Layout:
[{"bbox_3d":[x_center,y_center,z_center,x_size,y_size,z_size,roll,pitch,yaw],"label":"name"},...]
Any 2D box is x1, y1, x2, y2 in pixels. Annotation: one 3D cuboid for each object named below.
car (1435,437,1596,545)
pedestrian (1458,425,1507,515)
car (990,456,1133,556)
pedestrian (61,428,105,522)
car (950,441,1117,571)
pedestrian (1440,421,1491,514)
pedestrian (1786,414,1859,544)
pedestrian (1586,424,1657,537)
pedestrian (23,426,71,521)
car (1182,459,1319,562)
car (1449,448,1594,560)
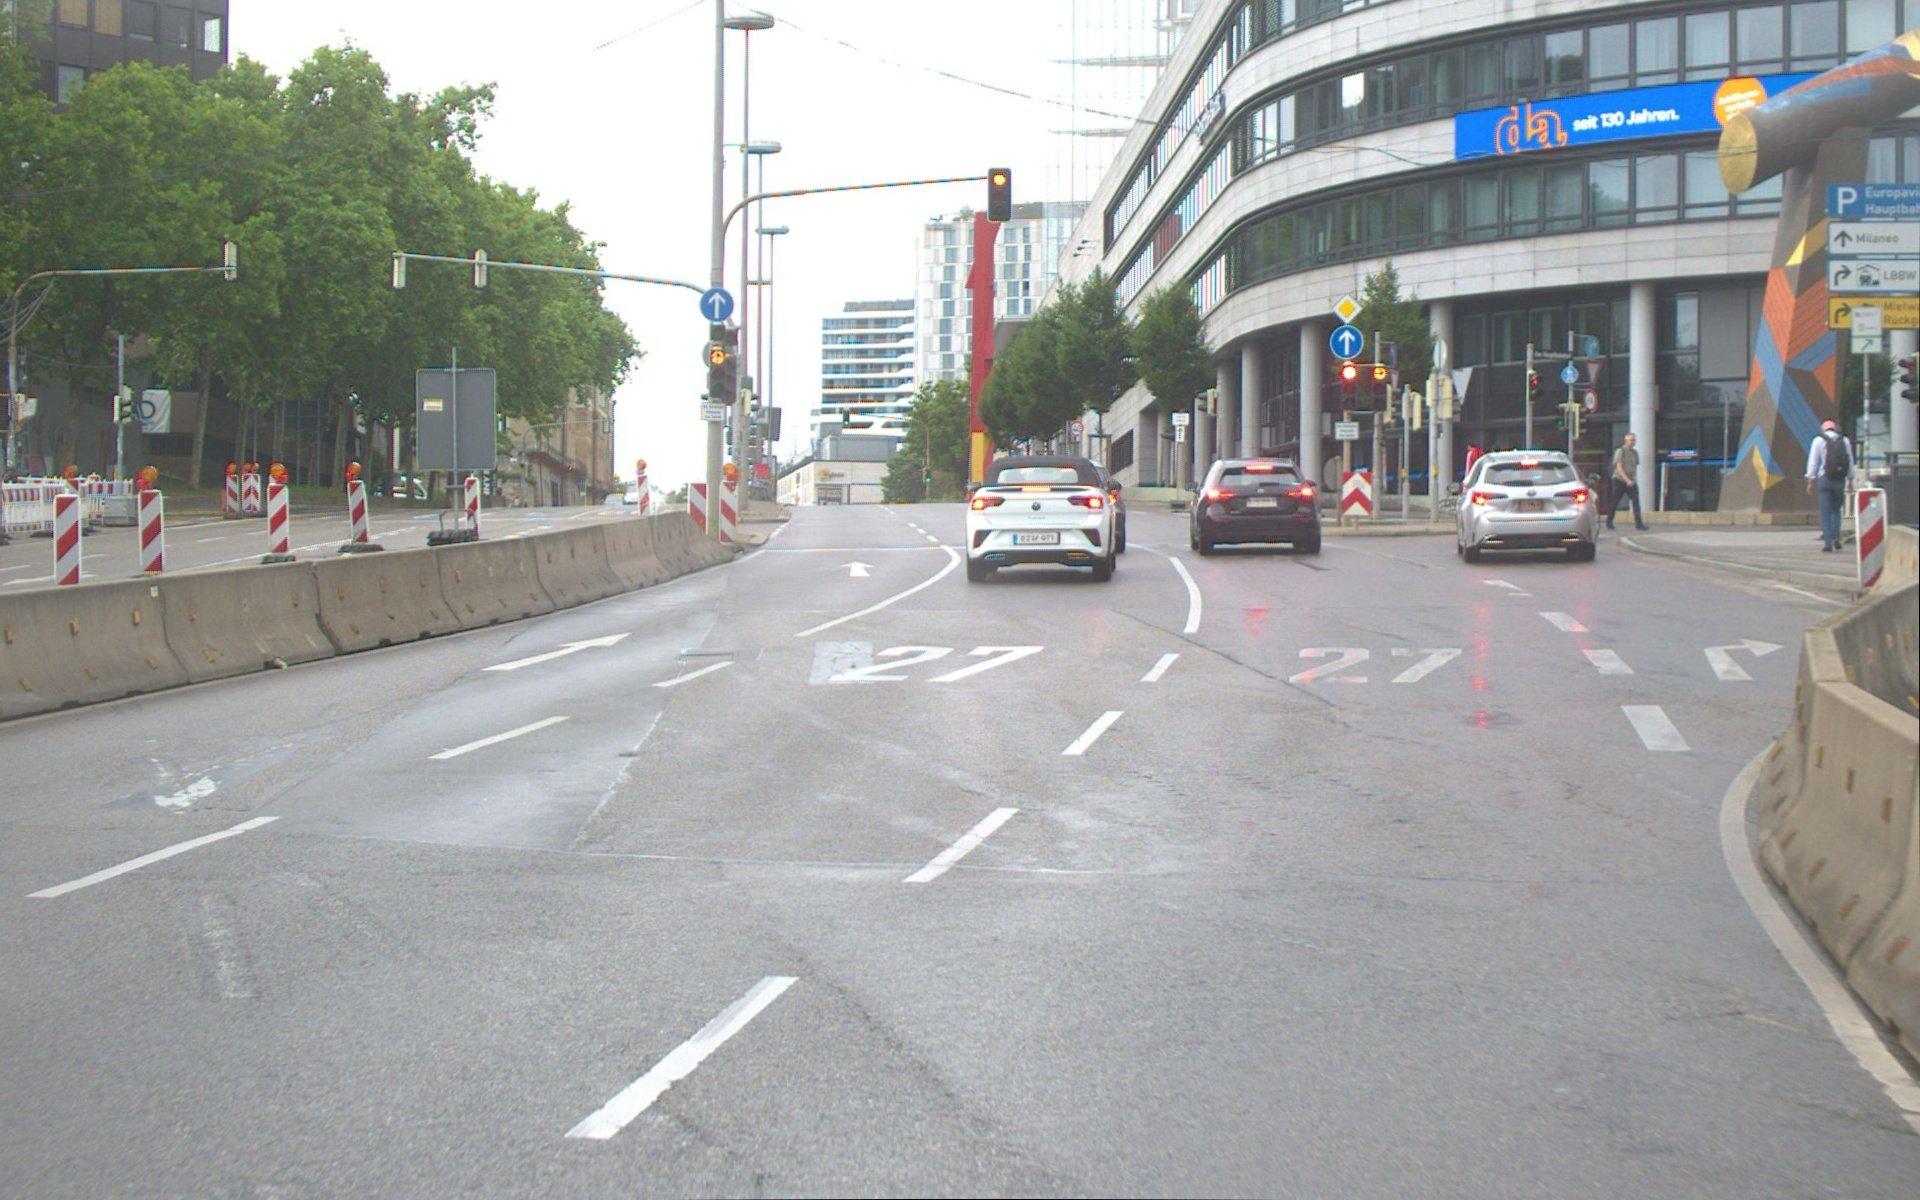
[{"bbox_3d":[8.817,-1.739,54.317,1.773,1.628,4.577,1,2,19],"label":"car"},{"bbox_3d":[11.045,-2.745,72.670,0.841,1.898,0.731,1,1,24],"label":"pedestrian"},{"bbox_3d":[1.497,-1.443,51.950,1.739,1.438,4.001,0,2,-4],"label":"car"},{"bbox_3d":[-18.121,-2.580,71.038,0.672,1.895,0.775,1,0,1],"label":"pedestrian"},{"bbox_3d":[0.977,-1.215,43.352,1.964,1.543,4.219,0,2,3],"label":"car"},{"bbox_3d":[10.555,-2.753,71.733,0.841,1.898,0.860,1,0,24],"label":"pedestrian"},{"bbox_3d":[11.564,-1.619,46.086,0.729,1.705,0.843,1,0,-2],"label":"pedestrian"},{"bbox_3d":[12.458,-2.251,64.737,0.852,2.091,0.905,2,2,-25],"label":"pedestrian"},{"bbox_3d":[-18.867,-2.607,71.032,0.761,1.916,0.742,1,0,1],"label":"pedestrian"},{"bbox_3d":[4.284,-1.318,51.214,1.755,1.402,4.227,2,1,2],"label":"car"},{"bbox_3d":[7.715,-1.308,47.559,1.701,1.446,4.615,1,1,6],"label":"car"}]
